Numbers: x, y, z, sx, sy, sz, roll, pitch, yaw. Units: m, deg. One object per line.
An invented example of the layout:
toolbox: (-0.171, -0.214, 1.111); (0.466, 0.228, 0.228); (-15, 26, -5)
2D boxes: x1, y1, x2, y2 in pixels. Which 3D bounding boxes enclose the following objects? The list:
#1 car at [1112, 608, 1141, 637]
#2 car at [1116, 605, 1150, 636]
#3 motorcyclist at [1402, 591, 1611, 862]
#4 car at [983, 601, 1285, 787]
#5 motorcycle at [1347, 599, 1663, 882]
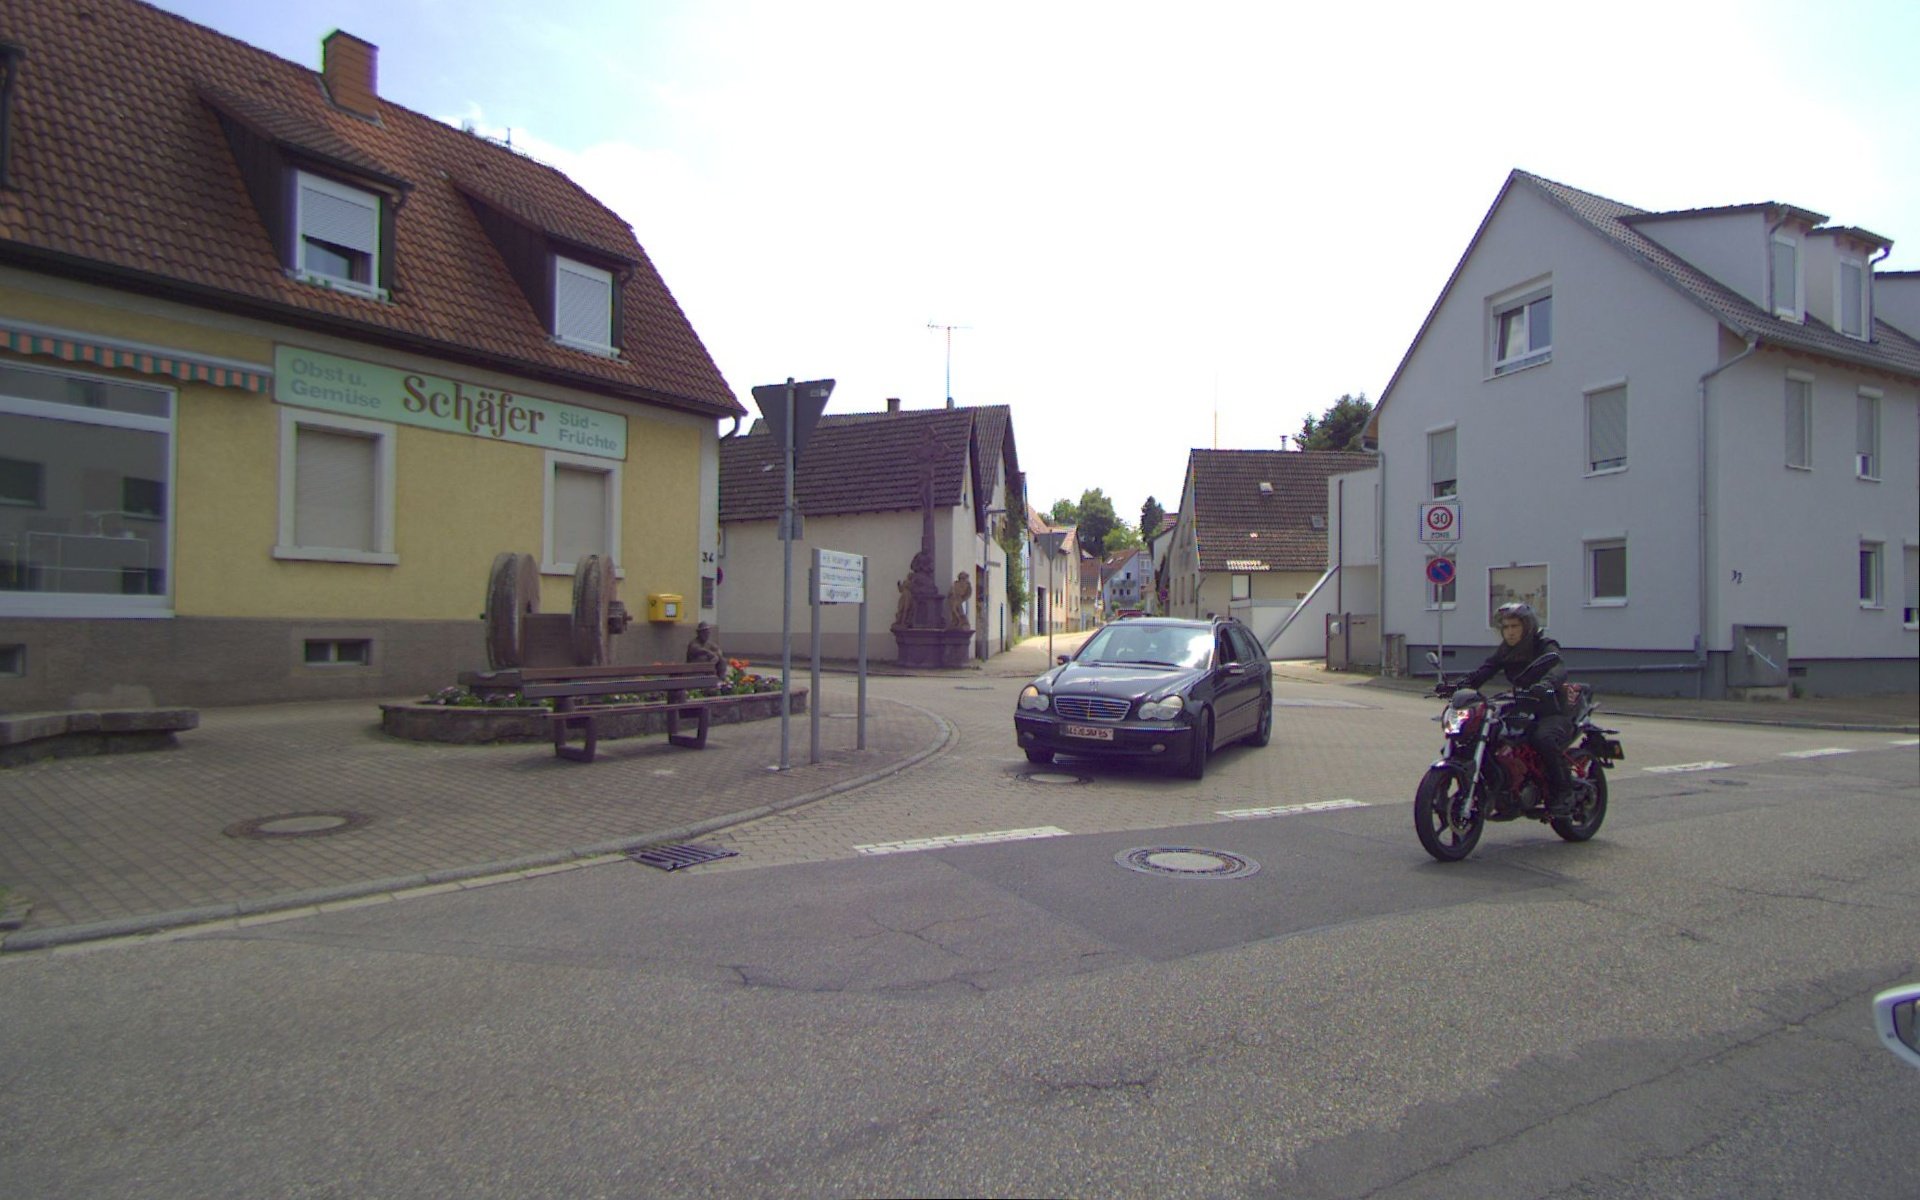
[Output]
car: (9.981, 1.353, 60.377); (1.369, 1.656, 3.478); (2, -2, 4)
car: (9.432, 1.140, 55.032); (1.461, 1.550, 3.478); (2, -2, 4)
motorcyclist: (3.474, 0.741, 6.426); (0.797, 1.575, 0.893); (1, 0, -28)
car: (2.054, 0.850, 10.423); (1.780, 1.430, 4.632); (1, -2, 27)
motorcycle: (3.519, 0.799, 6.464); (1.943, 1.581, 0.877); (1, -1, -28)
